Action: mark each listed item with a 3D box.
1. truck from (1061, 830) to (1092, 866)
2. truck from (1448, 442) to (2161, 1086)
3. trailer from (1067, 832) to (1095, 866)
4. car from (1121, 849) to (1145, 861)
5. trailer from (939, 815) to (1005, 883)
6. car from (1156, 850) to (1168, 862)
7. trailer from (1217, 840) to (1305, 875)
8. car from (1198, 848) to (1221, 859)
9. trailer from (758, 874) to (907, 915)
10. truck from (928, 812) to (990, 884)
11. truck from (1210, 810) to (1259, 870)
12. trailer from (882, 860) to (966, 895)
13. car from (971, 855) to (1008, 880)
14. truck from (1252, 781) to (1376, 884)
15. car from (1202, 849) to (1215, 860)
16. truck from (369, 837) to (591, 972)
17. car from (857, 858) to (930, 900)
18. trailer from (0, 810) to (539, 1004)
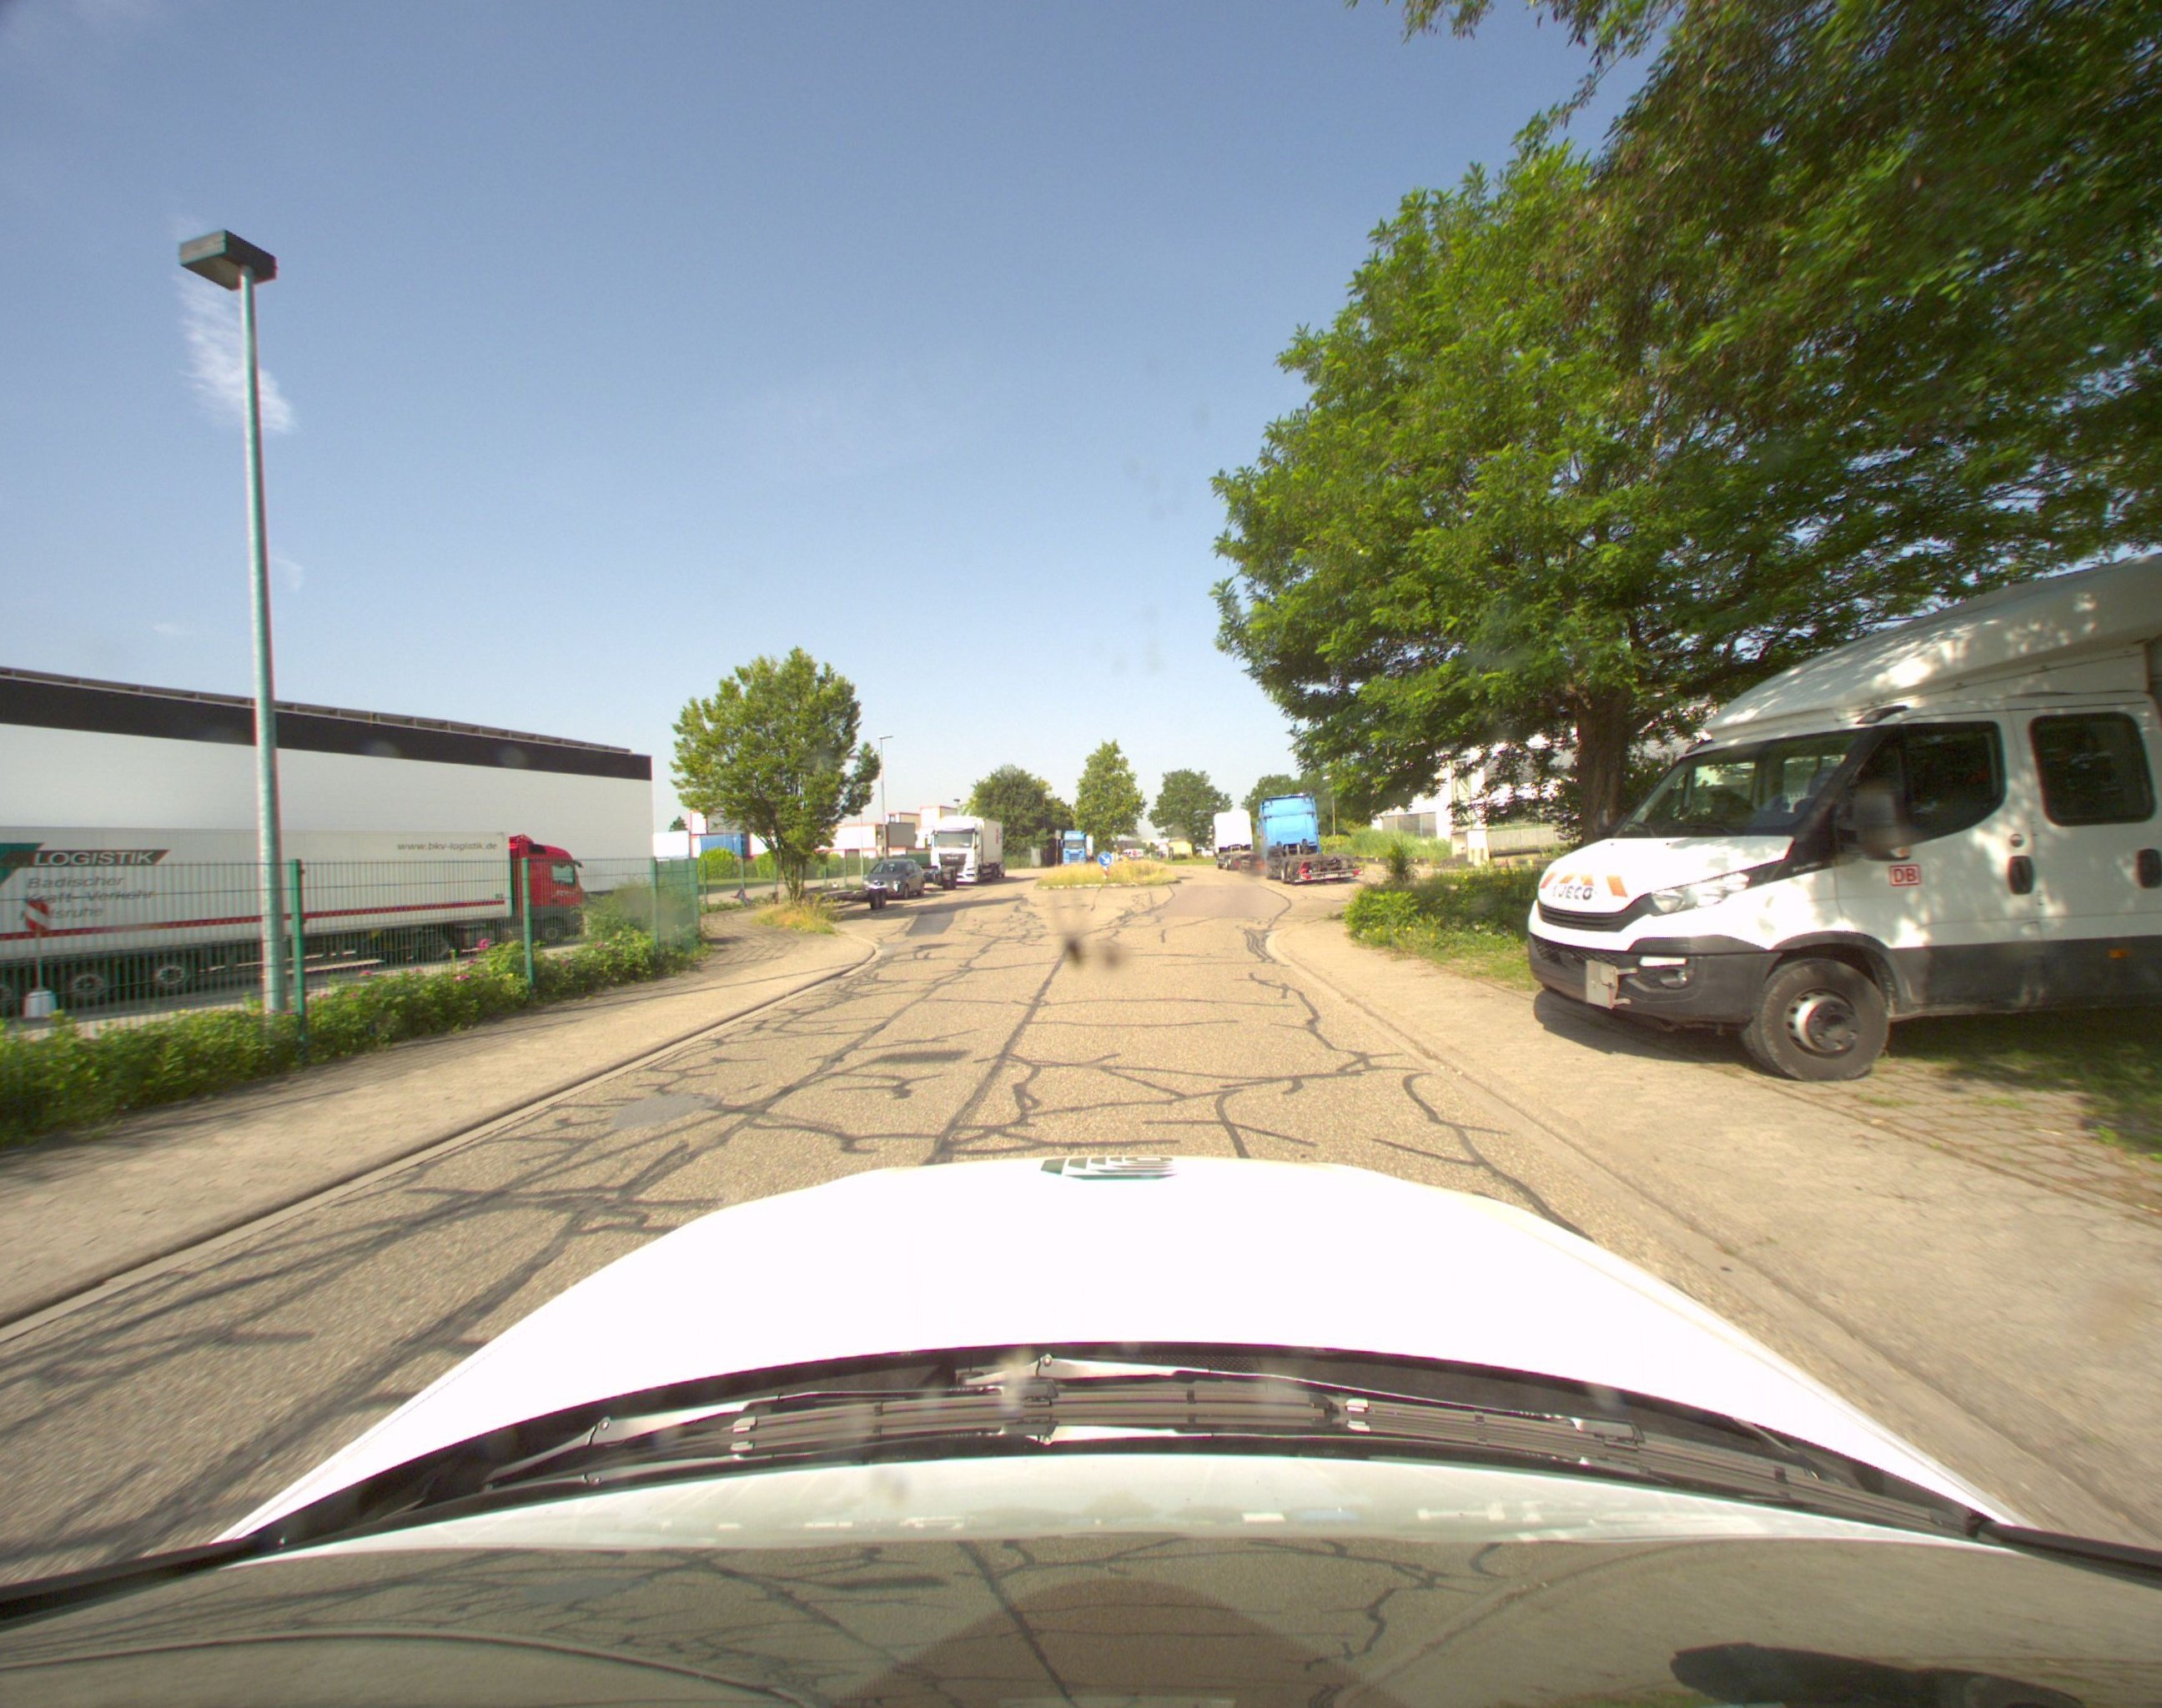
[{"bbox_3d":[-0.443,-0.559,90.393,2.813,3.826,9.679,0,-1,3],"label":"truck"},{"bbox_3d":[7.357,-0.598,5.712,8.176,3.370,2.742,-3,-1,2],"label":"truck"},{"bbox_3d":[0.091,-0.430,99.184,2.819,3.843,12.044,0,-1,3],"label":"trailer"},{"bbox_3d":[12.127,0.249,188.550,5.817,2.734,1.976,1,-2,-40],"label":"car"},{"bbox_3d":[-6.628,-0.204,50.552,2.688,3.922,7.580,0,-1,3],"label":"trailer"},{"bbox_3d":[12.954,0.351,130.222,1.785,1.750,4.002,0,-1,3],"label":"car"},{"bbox_3d":[10.556,0.193,49.855,2.734,1.574,16.187,-4,0,4],"label":"trailer"},{"bbox_3d":[16.357,-0.001,103.890,1.670,1.330,3.647,0,-1,-13],"label":"car"},{"bbox_3d":[-7.805,1.236,26.604,2.537,0.925,6.713,1,0,2],"label":"trailer"},{"bbox_3d":[-6.842,-0.281,46.141,2.698,3.922,4.299,0,-1,3],"label":"truck"},{"bbox_3d":[11.022,-0.981,58.918,2.734,3.981,4.004,-5,-1,3],"label":"truck"},{"bbox_3d":[-7.482,1.085,39.513,2.669,1.453,5.083,-1,0,5],"label":"trailer"},{"bbox_3d":[-6.382,0.934,57.440,1.986,1.641,4.589,-1,0,1],"label":"car"},{"bbox_3d":[9.634,-0.731,34.985,2.875,3.535,9.765,-6,-1,4],"label":"truck"},{"bbox_3d":[19.020,0.106,121.495,1.708,1.618,4.007,0,-1,7],"label":"car"},{"bbox_3d":[-20.064,1.586,27.611,2.492,4.071,5.569,-1,-1,18],"label":"truck"},{"bbox_3d":[-7.566,0.980,33.281,1.688,1.561,4.340,0,0,3],"label":"car"},{"bbox_3d":[-22.067,1.185,21.730,2.461,4.042,13.954,-1,-1,19],"label":"trailer"}]
